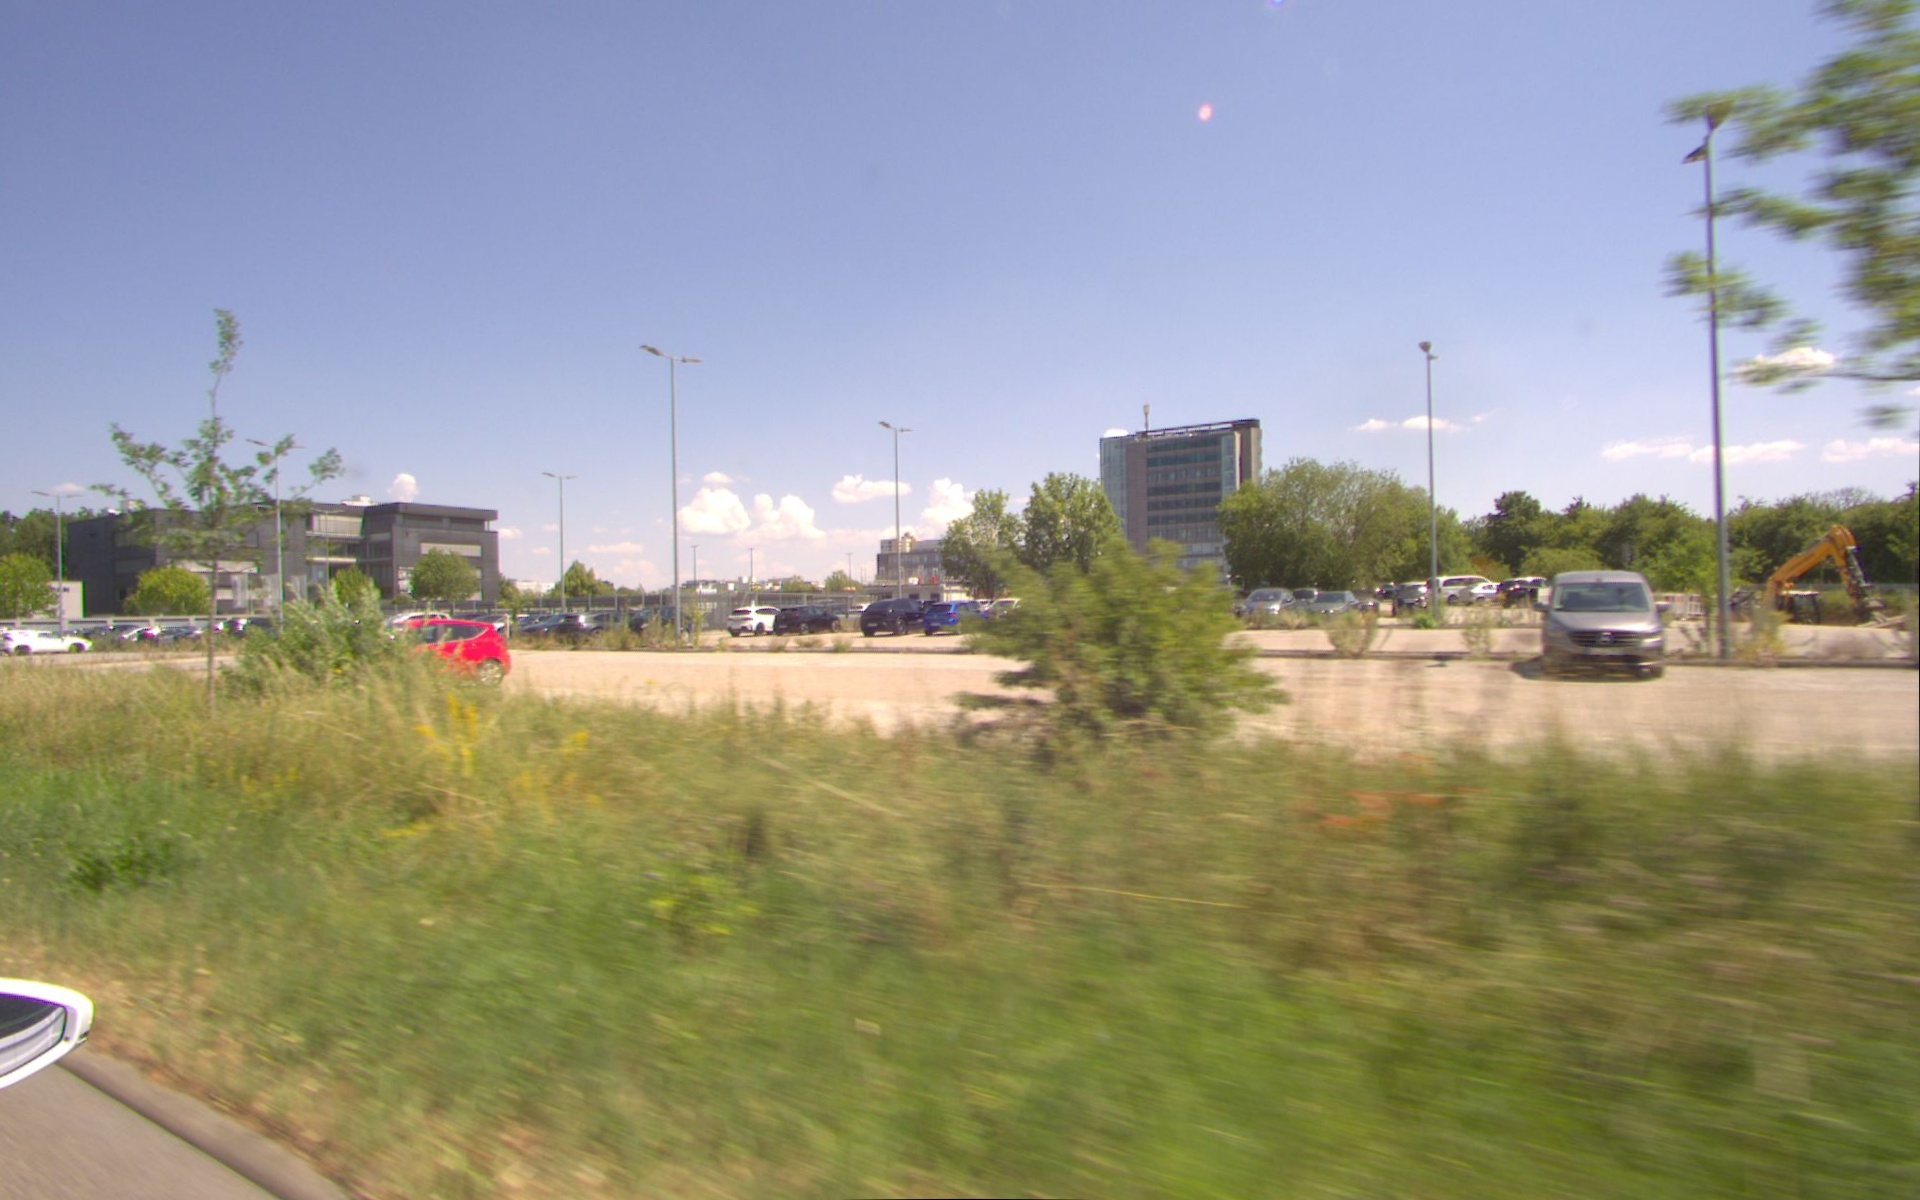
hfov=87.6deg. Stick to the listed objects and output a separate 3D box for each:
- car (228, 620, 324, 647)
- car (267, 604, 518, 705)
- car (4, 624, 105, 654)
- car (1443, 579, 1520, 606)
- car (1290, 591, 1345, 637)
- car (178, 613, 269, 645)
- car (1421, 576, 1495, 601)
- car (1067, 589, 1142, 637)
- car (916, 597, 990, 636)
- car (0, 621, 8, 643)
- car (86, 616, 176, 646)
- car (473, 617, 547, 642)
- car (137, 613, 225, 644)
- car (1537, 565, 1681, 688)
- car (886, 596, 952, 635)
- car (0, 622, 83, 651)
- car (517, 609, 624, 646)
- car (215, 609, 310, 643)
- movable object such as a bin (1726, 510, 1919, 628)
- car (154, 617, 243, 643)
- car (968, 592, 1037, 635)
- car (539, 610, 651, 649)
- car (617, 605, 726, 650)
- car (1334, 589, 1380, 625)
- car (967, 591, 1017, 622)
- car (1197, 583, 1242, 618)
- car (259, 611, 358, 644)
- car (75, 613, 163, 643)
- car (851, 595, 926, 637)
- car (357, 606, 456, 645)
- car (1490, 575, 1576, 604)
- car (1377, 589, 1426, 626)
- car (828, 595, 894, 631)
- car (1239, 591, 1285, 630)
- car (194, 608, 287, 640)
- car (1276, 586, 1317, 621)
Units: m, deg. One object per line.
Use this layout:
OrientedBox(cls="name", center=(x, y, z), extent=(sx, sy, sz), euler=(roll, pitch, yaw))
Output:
OrientedBox(cls="car", center=(-37.010, 1.773, 54.274), extent=(1.741, 1.124, 3.982), euler=(2, 3, 28))
OrientedBox(cls="car", center=(-11.350, 1.018, 20.295), extent=(1.899, 1.747, 3.979), euler=(-2, 0, 31))
OrientedBox(cls="car", center=(-52.575, 2.240, 58.222), extent=(1.741, 1.420, 3.980), euler=(2, 3, 29))
OrientedBox(cls="car", center=(33.106, -0.482, 63.669), extent=(3.922, 1.550, 1.875), euler=(-1, 1, -1))
OrientedBox(cls="car", center=(14.756, 0.517, 41.374), extent=(1.964, 1.663, 3.989), euler=(2, 3, 19))
OrientedBox(cls="car", center=(-43.590, 1.665, 59.362), extent=(1.741, 1.618, 3.982), euler=(2, 3, 28))
OrientedBox(cls="car", center=(32.868, -0.760, 66.135), extent=(3.922, 1.550, 1.875), euler=(-1, 1, -1))
OrientedBox(cls="car", center=(5.888, 0.477, 40.555), extent=(1.731, 1.782, 3.981), euler=(0, 2, 29))
OrientedBox(cls="car", center=(-0.277, 0.705, 44.451), extent=(1.706, 1.484, 3.792), euler=(2, 3, 27))
OrientedBox(cls="car", center=(-65.987, 2.225, 66.280), extent=(1.741, 1.420, 3.982), euler=(2, 3, 28))
OrientedBox(cls="car", center=(-52.104, 1.924, 63.028), extent=(1.741, 1.618, 3.982), euler=(2, 3, 28))
OrientedBox(cls="car", center=(-27.466, 1.762, 61.260), extent=(1.704, 1.209, 3.983), euler=(2, 3, 27))
OrientedBox(cls="car", center=(-48.885, 1.768, 62.883), extent=(1.741, 1.618, 3.982), euler=(2, 3, 28))
OrientedBox(cls="car", center=(11.574, 0.348, 18.135), extent=(1.910, 1.941, 4.454), euler=(0, 2, 30))
OrientedBox(cls="car", center=(-1.997, 0.734, 50.352), extent=(1.964, 1.663, 3.989), euler=(2, 3, 19))
OrientedBox(cls="car", center=(-54.808, 2.136, 59.240), extent=(1.741, 1.420, 3.982), euler=(2, 3, 28))
OrientedBox(cls="car", center=(-16.880, 1.177, 43.576), extent=(1.899, 1.414, 3.979), euler=(-2, 0, 31))
OrientedBox(cls="car", center=(-39.187, 1.410, 56.349), extent=(1.832, 1.618, 3.982), euler=(2, 3, 28))
OrientedBox(cls="movable object such as a bin", center=(34.651, -1.220, 38.958), extent=(2.930, 4.101, 8.097), euler=(1, 3, -3))
OrientedBox(cls="car", center=(-46.652, 1.835, 61.391), extent=(1.741, 1.289, 3.982), euler=(2, 3, 28))
OrientedBox(cls="car", center=(2.156, 0.647, 50.229), extent=(1.968, 1.908, 3.983), euler=(2, 3, 27))
OrientedBox(cls="car", center=(-14.883, 1.169, 41.055), extent=(1.899, 1.414, 3.979), euler=(-2, 0, 31))
OrientedBox(cls="car", center=(-11.635, 1.095, 40.609), extent=(1.899, 1.663, 3.979), euler=(-2, 0, 31))
OrientedBox(cls="car", center=(20.452, 0.308, 51.733), extent=(1.964, 1.663, 3.989), euler=(2, 3, 19))
OrientedBox(cls="car", center=(2.005, 0.374, 61.235), extent=(1.964, 1.663, 3.989), euler=(2, 3, 19))
OrientedBox(cls="car", center=(14.084, -0.008, 54.148), extent=(1.964, 1.663, 3.989), euler=(2, 3, 19))
OrientedBox(cls="car", center=(-33.939, 1.395, 52.274), extent=(1.741, 1.412, 3.982), euler=(2, 3, 28))
OrientedBox(cls="car", center=(-54.376, 1.766, 64.814), extent=(1.741, 1.618, 3.982), euler=(2, 3, 28))
OrientedBox(cls="car", center=(-3.176, 0.687, 45.384), extent=(1.964, 1.663, 3.989), euler=(2, 3, 19))
OrientedBox(cls="car", center=(-27.196, 1.210, 49.347), extent=(1.741, 1.618, 3.982), euler=(2, 3, 28))
OrientedBox(cls="car", center=(33.123, -0.598, 57.939), extent=(3.922, 1.550, 1.875), euler=(-1, 1, -1))
OrientedBox(cls="car", center=(22.521, 0.352, 51.206), extent=(1.964, 1.663, 3.989), euler=(2, 3, 19))
OrientedBox(cls="car", center=(-5.190, 0.632, 53.009), extent=(1.964, 1.663, 3.989), euler=(2, 3, 19))
OrientedBox(cls="car", center=(13.152, 0.414, 43.447), extent=(1.690, 1.440, 3.989), euler=(2, 3, 19))
OrientedBox(cls="car", center=(-41.492, 1.354, 57.824), extent=(1.741, 1.618, 3.982), euler=(2, 3, 28))
OrientedBox(cls="car", center=(17.964, 0.136, 53.382), extent=(1.964, 1.663, 3.989), euler=(2, 3, 19))
